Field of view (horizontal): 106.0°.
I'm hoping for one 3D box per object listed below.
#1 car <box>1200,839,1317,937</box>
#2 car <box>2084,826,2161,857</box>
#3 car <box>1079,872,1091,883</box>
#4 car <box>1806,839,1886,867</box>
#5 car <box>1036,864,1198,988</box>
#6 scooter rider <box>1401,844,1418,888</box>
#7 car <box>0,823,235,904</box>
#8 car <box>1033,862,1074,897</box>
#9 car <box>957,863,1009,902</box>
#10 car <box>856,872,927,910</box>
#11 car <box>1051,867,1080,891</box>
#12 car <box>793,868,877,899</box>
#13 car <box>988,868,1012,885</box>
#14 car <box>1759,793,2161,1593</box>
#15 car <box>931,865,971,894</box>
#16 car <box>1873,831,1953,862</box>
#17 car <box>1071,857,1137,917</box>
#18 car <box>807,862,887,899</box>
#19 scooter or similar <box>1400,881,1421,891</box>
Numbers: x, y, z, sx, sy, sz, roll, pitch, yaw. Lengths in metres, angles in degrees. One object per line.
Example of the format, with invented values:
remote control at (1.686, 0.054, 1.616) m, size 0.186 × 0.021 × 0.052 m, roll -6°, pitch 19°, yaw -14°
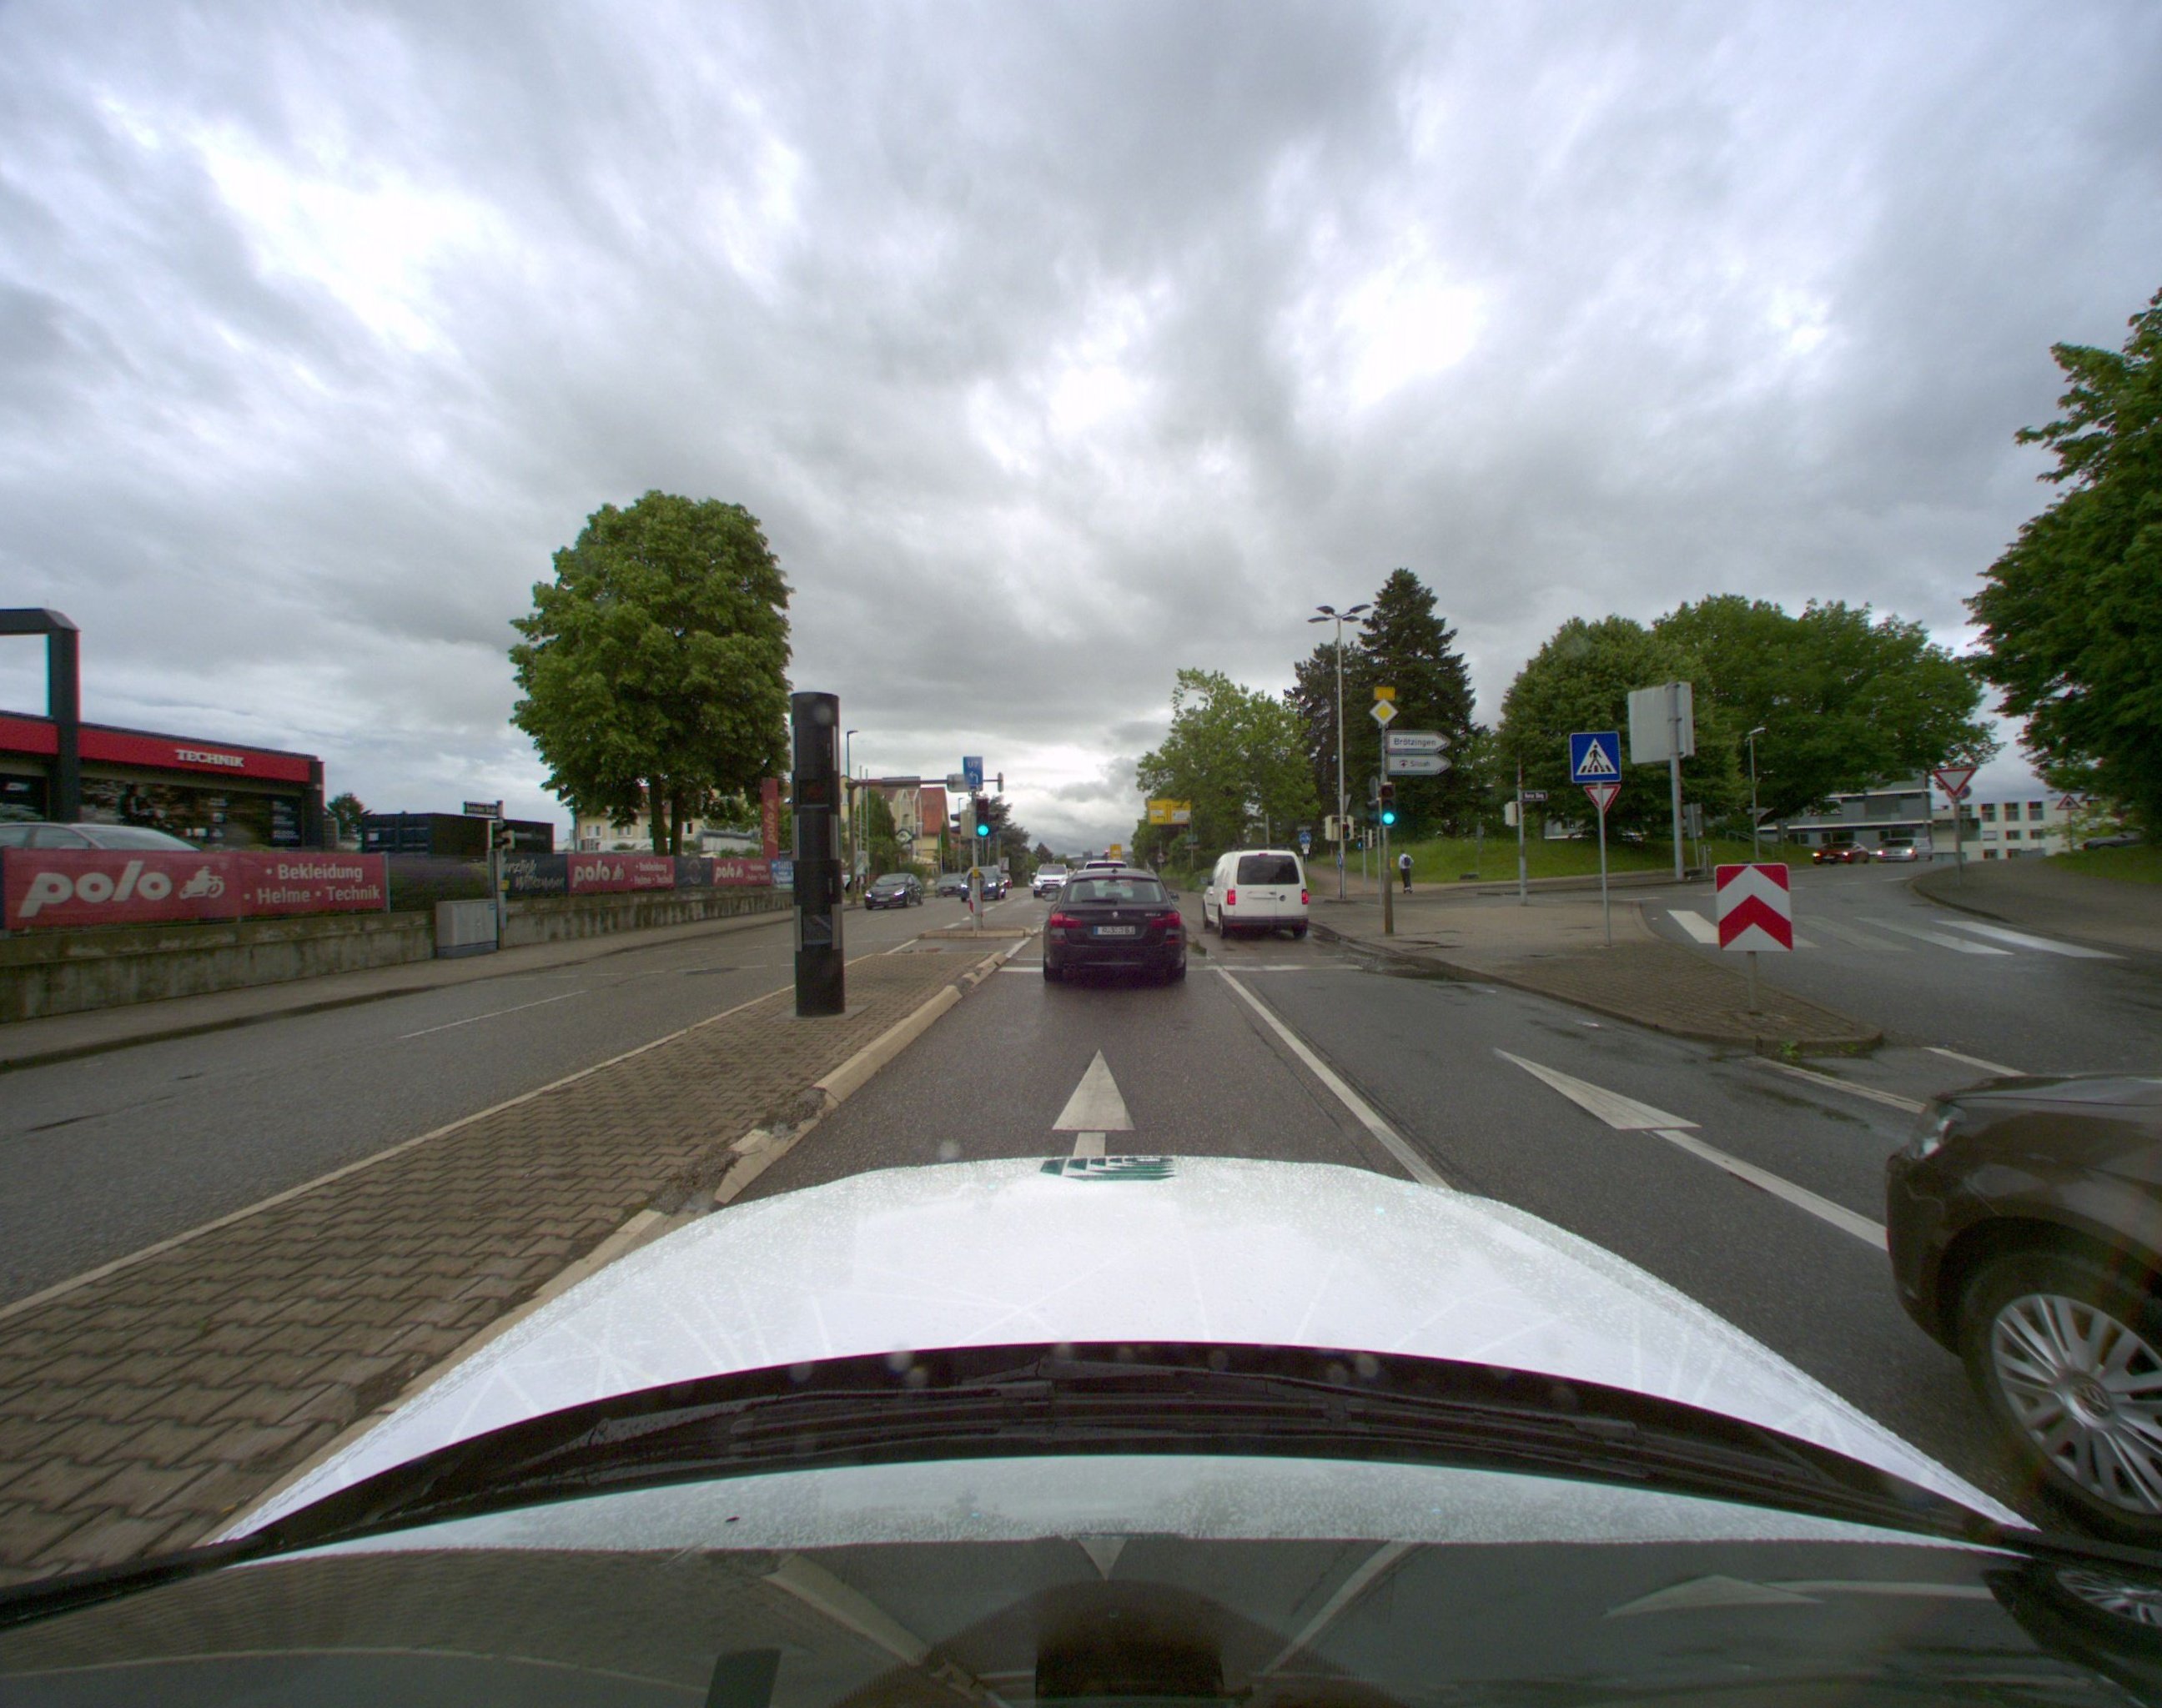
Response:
car at (3.703, 0.662, 17.632) m, size 1.758 × 1.877 × 3.806 m, roll -1°, pitch 0°, yaw 1°
car at (55.421, -0.703, 42.346) m, size 1.862 × 1.428 × 3.952 m, roll -2°, pitch -2°, yaw -40°
car at (0.618, 3.785, 134.028) m, size 1.861 × 1.673 × 4.002 m, roll -1°, pitch 0°, yaw 2°
car at (46.738, -0.057, 49.750) m, size 3.999 × 1.428 × 1.841 m, roll -3°, pitch -2°, yaw -19°
car at (0.499, 0.880, 11.585) m, size 1.891 × 1.441 × 4.002 m, roll -1°, pitch -1°, yaw 2°
scooter rider at (14.742, 0.536, 36.515) m, size 0.499 × 1.965 × 0.548 m, roll -2°, pitch 0°, yaw 1°
car at (-16.193, 0.167, 13.182) m, size 3.376 × 1.167 × 1.453 m, roll -2°, pitch 0°, yaw -1°
car at (-1.373, 1.278, 41.650) m, size 1.833 × 1.649 × 4.297 m, roll -2°, pitch -1°, yaw 1°
car at (-4.659, 1.326, 39.284) m, size 1.833 × 1.649 × 4.297 m, roll -3°, pitch -1°, yaw 1°
car at (-8.049, 1.551, 35.050) m, size 1.910 × 1.379 × 4.126 m, roll -3°, pitch -1°, yaw 2°
car at (-0.962, 1.584, 52.029) m, size 1.626 × 1.434 × 4.144 m, roll -1°, pitch -2°, yaw 1°
car at (-16.287, 1.935, 53.898) m, size 5.024 × 1.702 × 1.982 m, roll -3°, pitch -3°, yaw -27°
car at (-7.529, 2.081, 76.038) m, size 1.764 × 1.569 × 4.001 m, roll -1°, pitch -1°, yaw 1°
car at (2.999, 0.661, 0.616) m, size 1.740 × 1.609 × 3.982 m, roll -1°, pitch -1°, yaw 2°
car at (-8.050, 1.552, 50.824) m, size 1.670 × 1.618 × 4.001 m, roll -3°, pitch 0°, yaw 1°
car at (56.550, -0.509, 55.381) m, size 3.989 × 1.859 × 1.845 m, roll -3°, pitch -2°, yaw -11°
car at (0.719, 0.954, 25.093) m, size 1.861 × 1.673 × 4.002 m, roll -1°, pitch 0°, yaw 2°
car at (-14.588, 1.652, 50.714) m, size 4.410 × 2.013 × 1.982 m, roll -3°, pitch -1°, yaw -27°
scooter or similar at (14.760, 1.440, 36.496) m, size 0.485 × 0.403 × 1.256 m, roll -2°, pitch 0°, yaw 1°
